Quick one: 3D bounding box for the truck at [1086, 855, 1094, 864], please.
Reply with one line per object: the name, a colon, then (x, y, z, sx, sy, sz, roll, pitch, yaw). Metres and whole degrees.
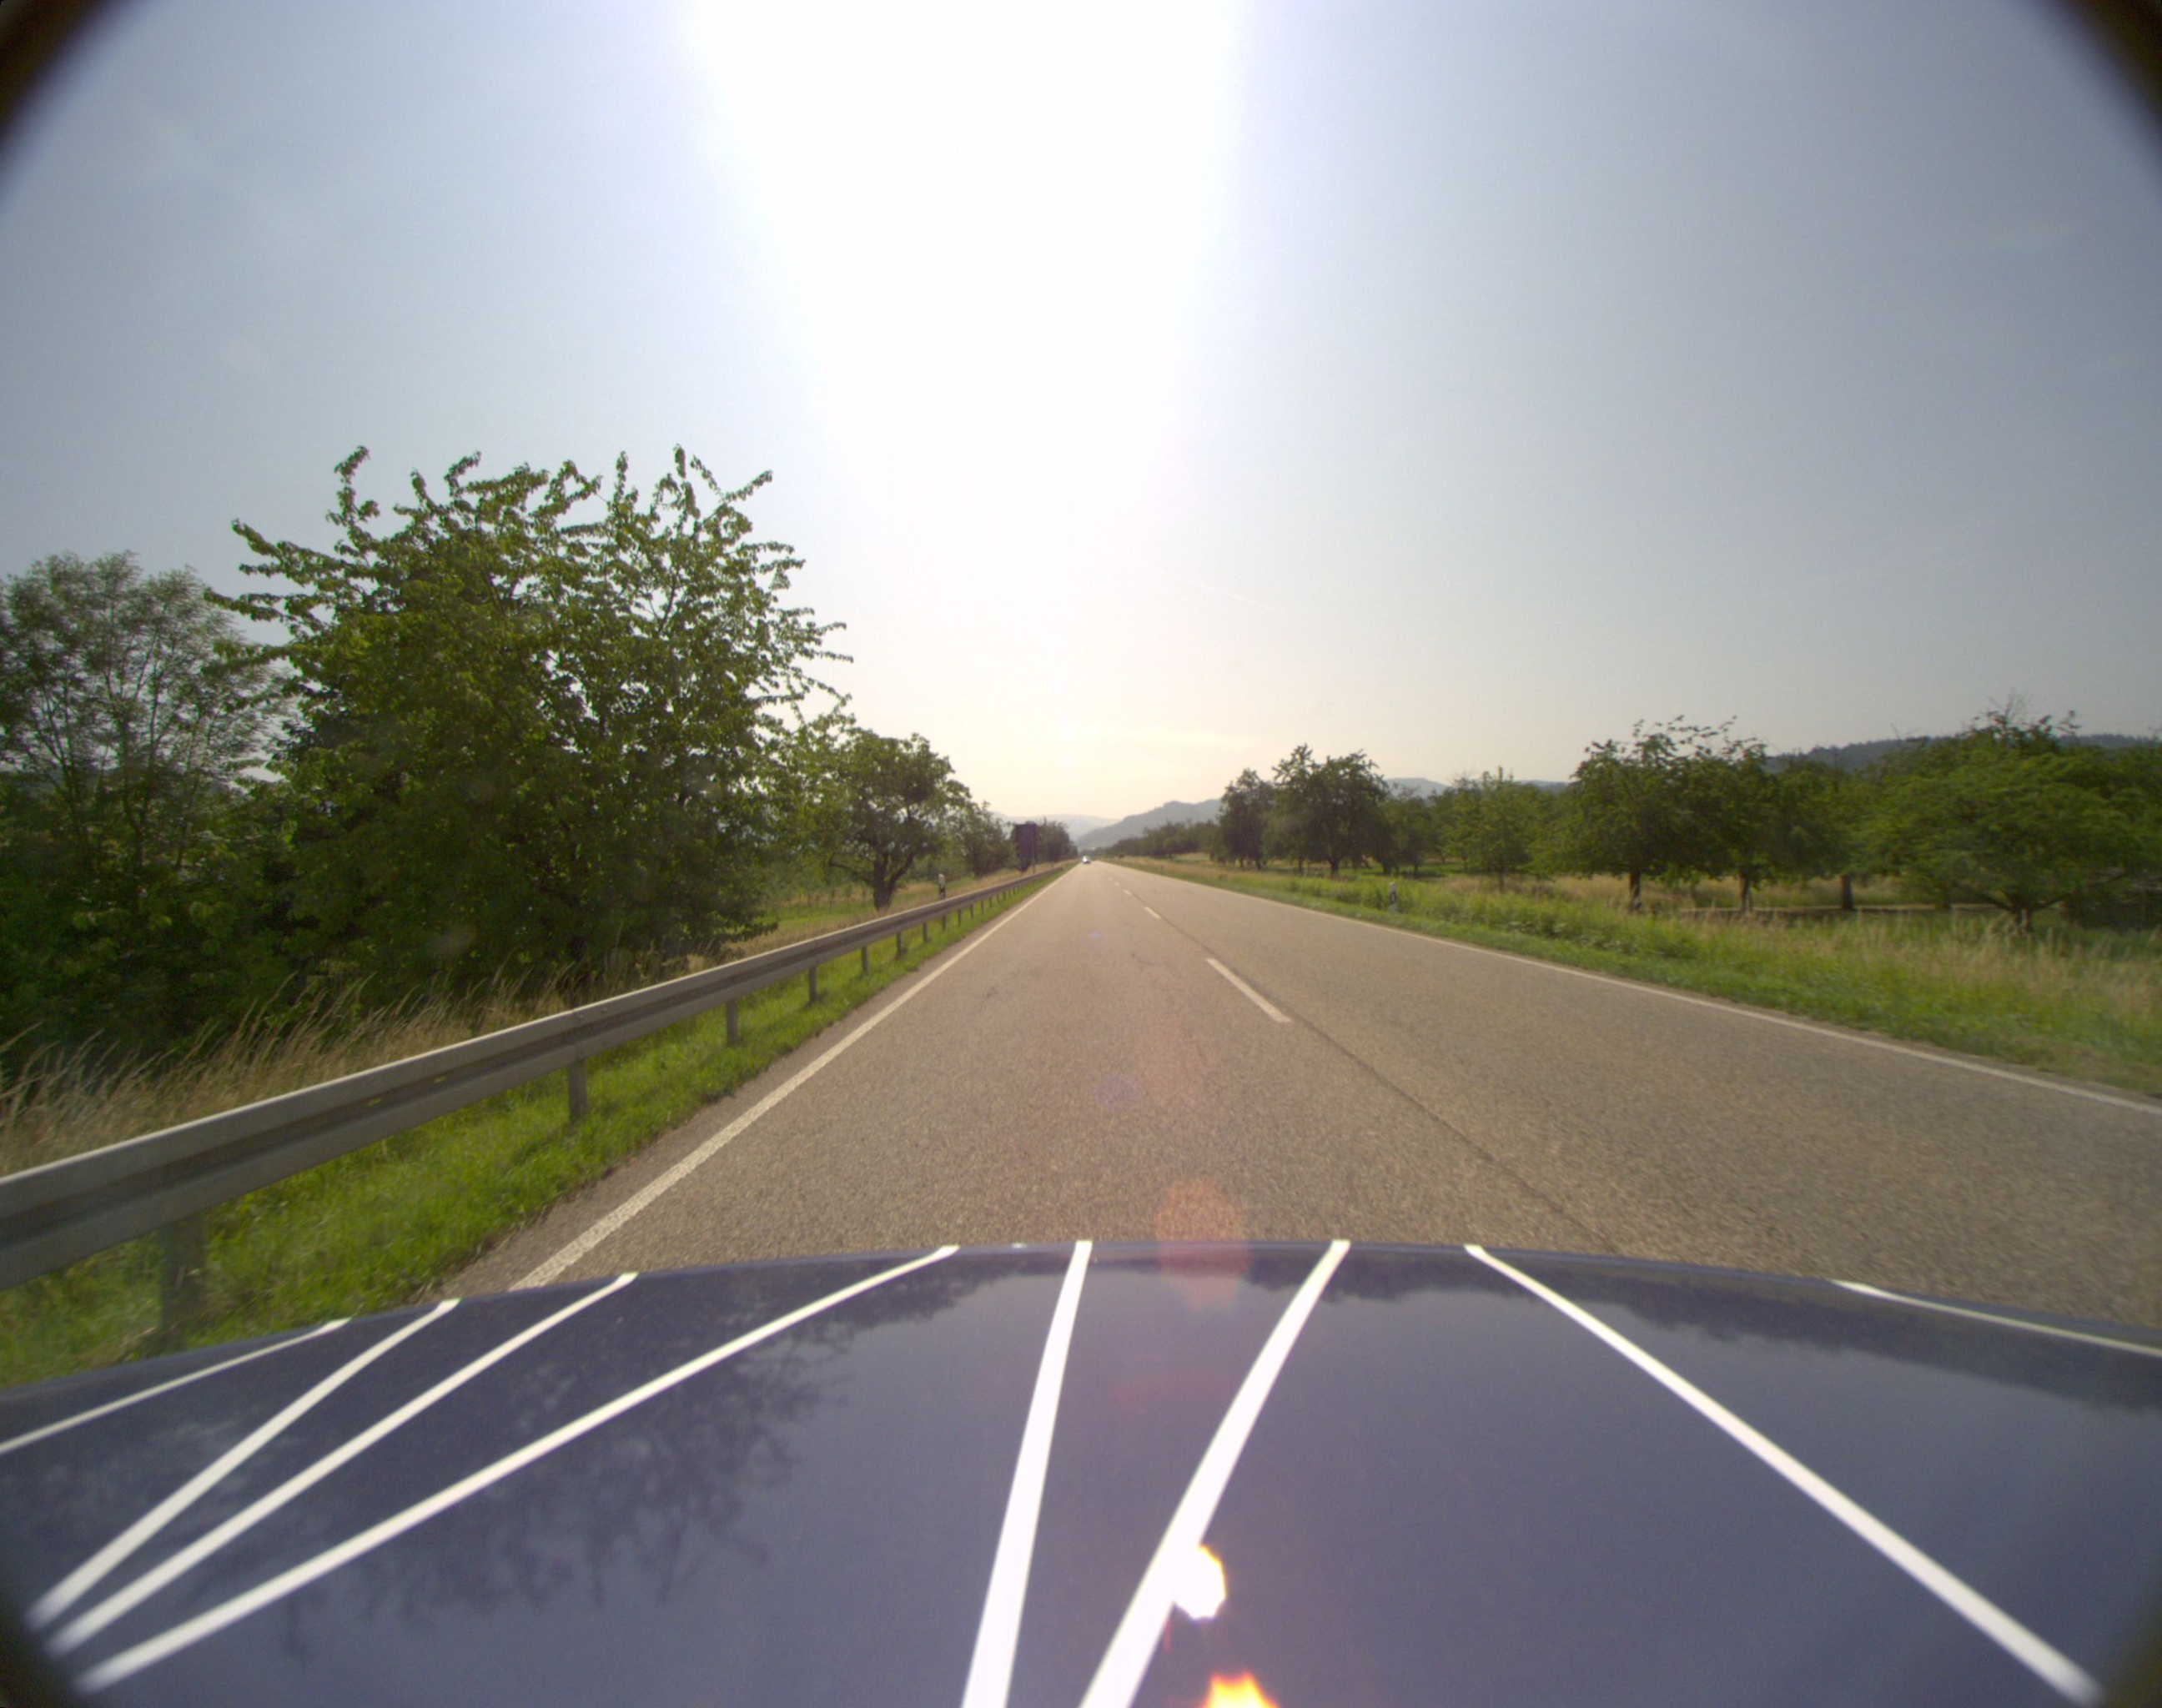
truck: (2.283, 1.334, 189.764, 2.031, 2.232, 4.765, -2, 1, 2)
